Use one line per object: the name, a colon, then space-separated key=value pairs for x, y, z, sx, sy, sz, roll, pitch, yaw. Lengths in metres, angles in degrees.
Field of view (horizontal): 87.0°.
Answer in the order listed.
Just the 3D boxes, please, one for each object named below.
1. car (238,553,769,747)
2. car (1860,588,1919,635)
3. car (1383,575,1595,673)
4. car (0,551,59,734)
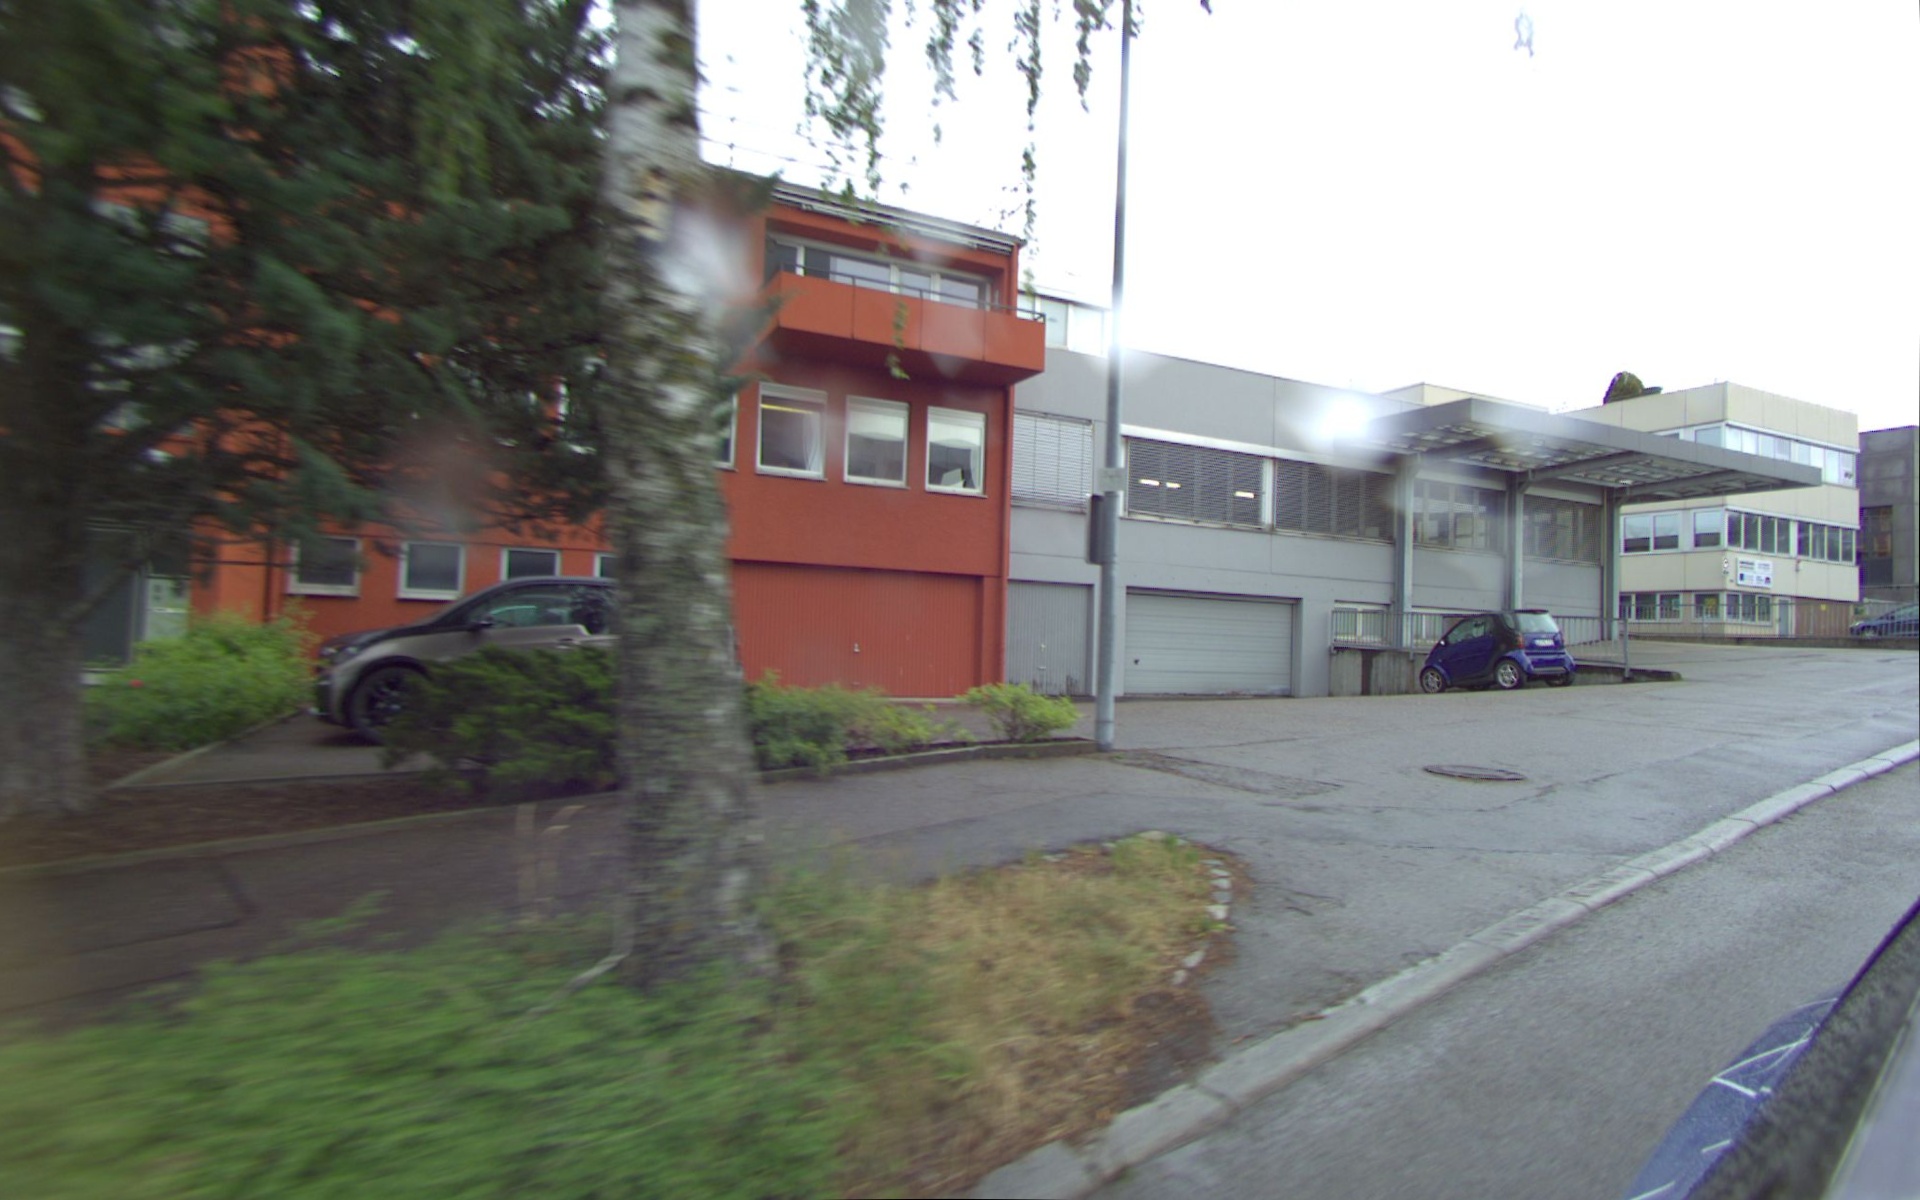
car: x=-4.340 y=0.430 z=10.173 sx=4.418 sy=1.599 sz=2.005 roll=0 pitch=-2 yaw=-24
car: x=33.014 y=0.400 z=34.048 sx=1.598 sy=1.559 sz=3.757 roll=0 pitch=1 yaw=-28
car: x=10.464 y=0.545 z=20.316 sx=1.584 sy=1.520 sz=3.448 roll=0 pitch=-8 yaw=-21
car: x=-9.855 y=0.324 z=7.768 sx=4.250 sy=1.489 sz=1.909 roll=0 pitch=1 yaw=-38
